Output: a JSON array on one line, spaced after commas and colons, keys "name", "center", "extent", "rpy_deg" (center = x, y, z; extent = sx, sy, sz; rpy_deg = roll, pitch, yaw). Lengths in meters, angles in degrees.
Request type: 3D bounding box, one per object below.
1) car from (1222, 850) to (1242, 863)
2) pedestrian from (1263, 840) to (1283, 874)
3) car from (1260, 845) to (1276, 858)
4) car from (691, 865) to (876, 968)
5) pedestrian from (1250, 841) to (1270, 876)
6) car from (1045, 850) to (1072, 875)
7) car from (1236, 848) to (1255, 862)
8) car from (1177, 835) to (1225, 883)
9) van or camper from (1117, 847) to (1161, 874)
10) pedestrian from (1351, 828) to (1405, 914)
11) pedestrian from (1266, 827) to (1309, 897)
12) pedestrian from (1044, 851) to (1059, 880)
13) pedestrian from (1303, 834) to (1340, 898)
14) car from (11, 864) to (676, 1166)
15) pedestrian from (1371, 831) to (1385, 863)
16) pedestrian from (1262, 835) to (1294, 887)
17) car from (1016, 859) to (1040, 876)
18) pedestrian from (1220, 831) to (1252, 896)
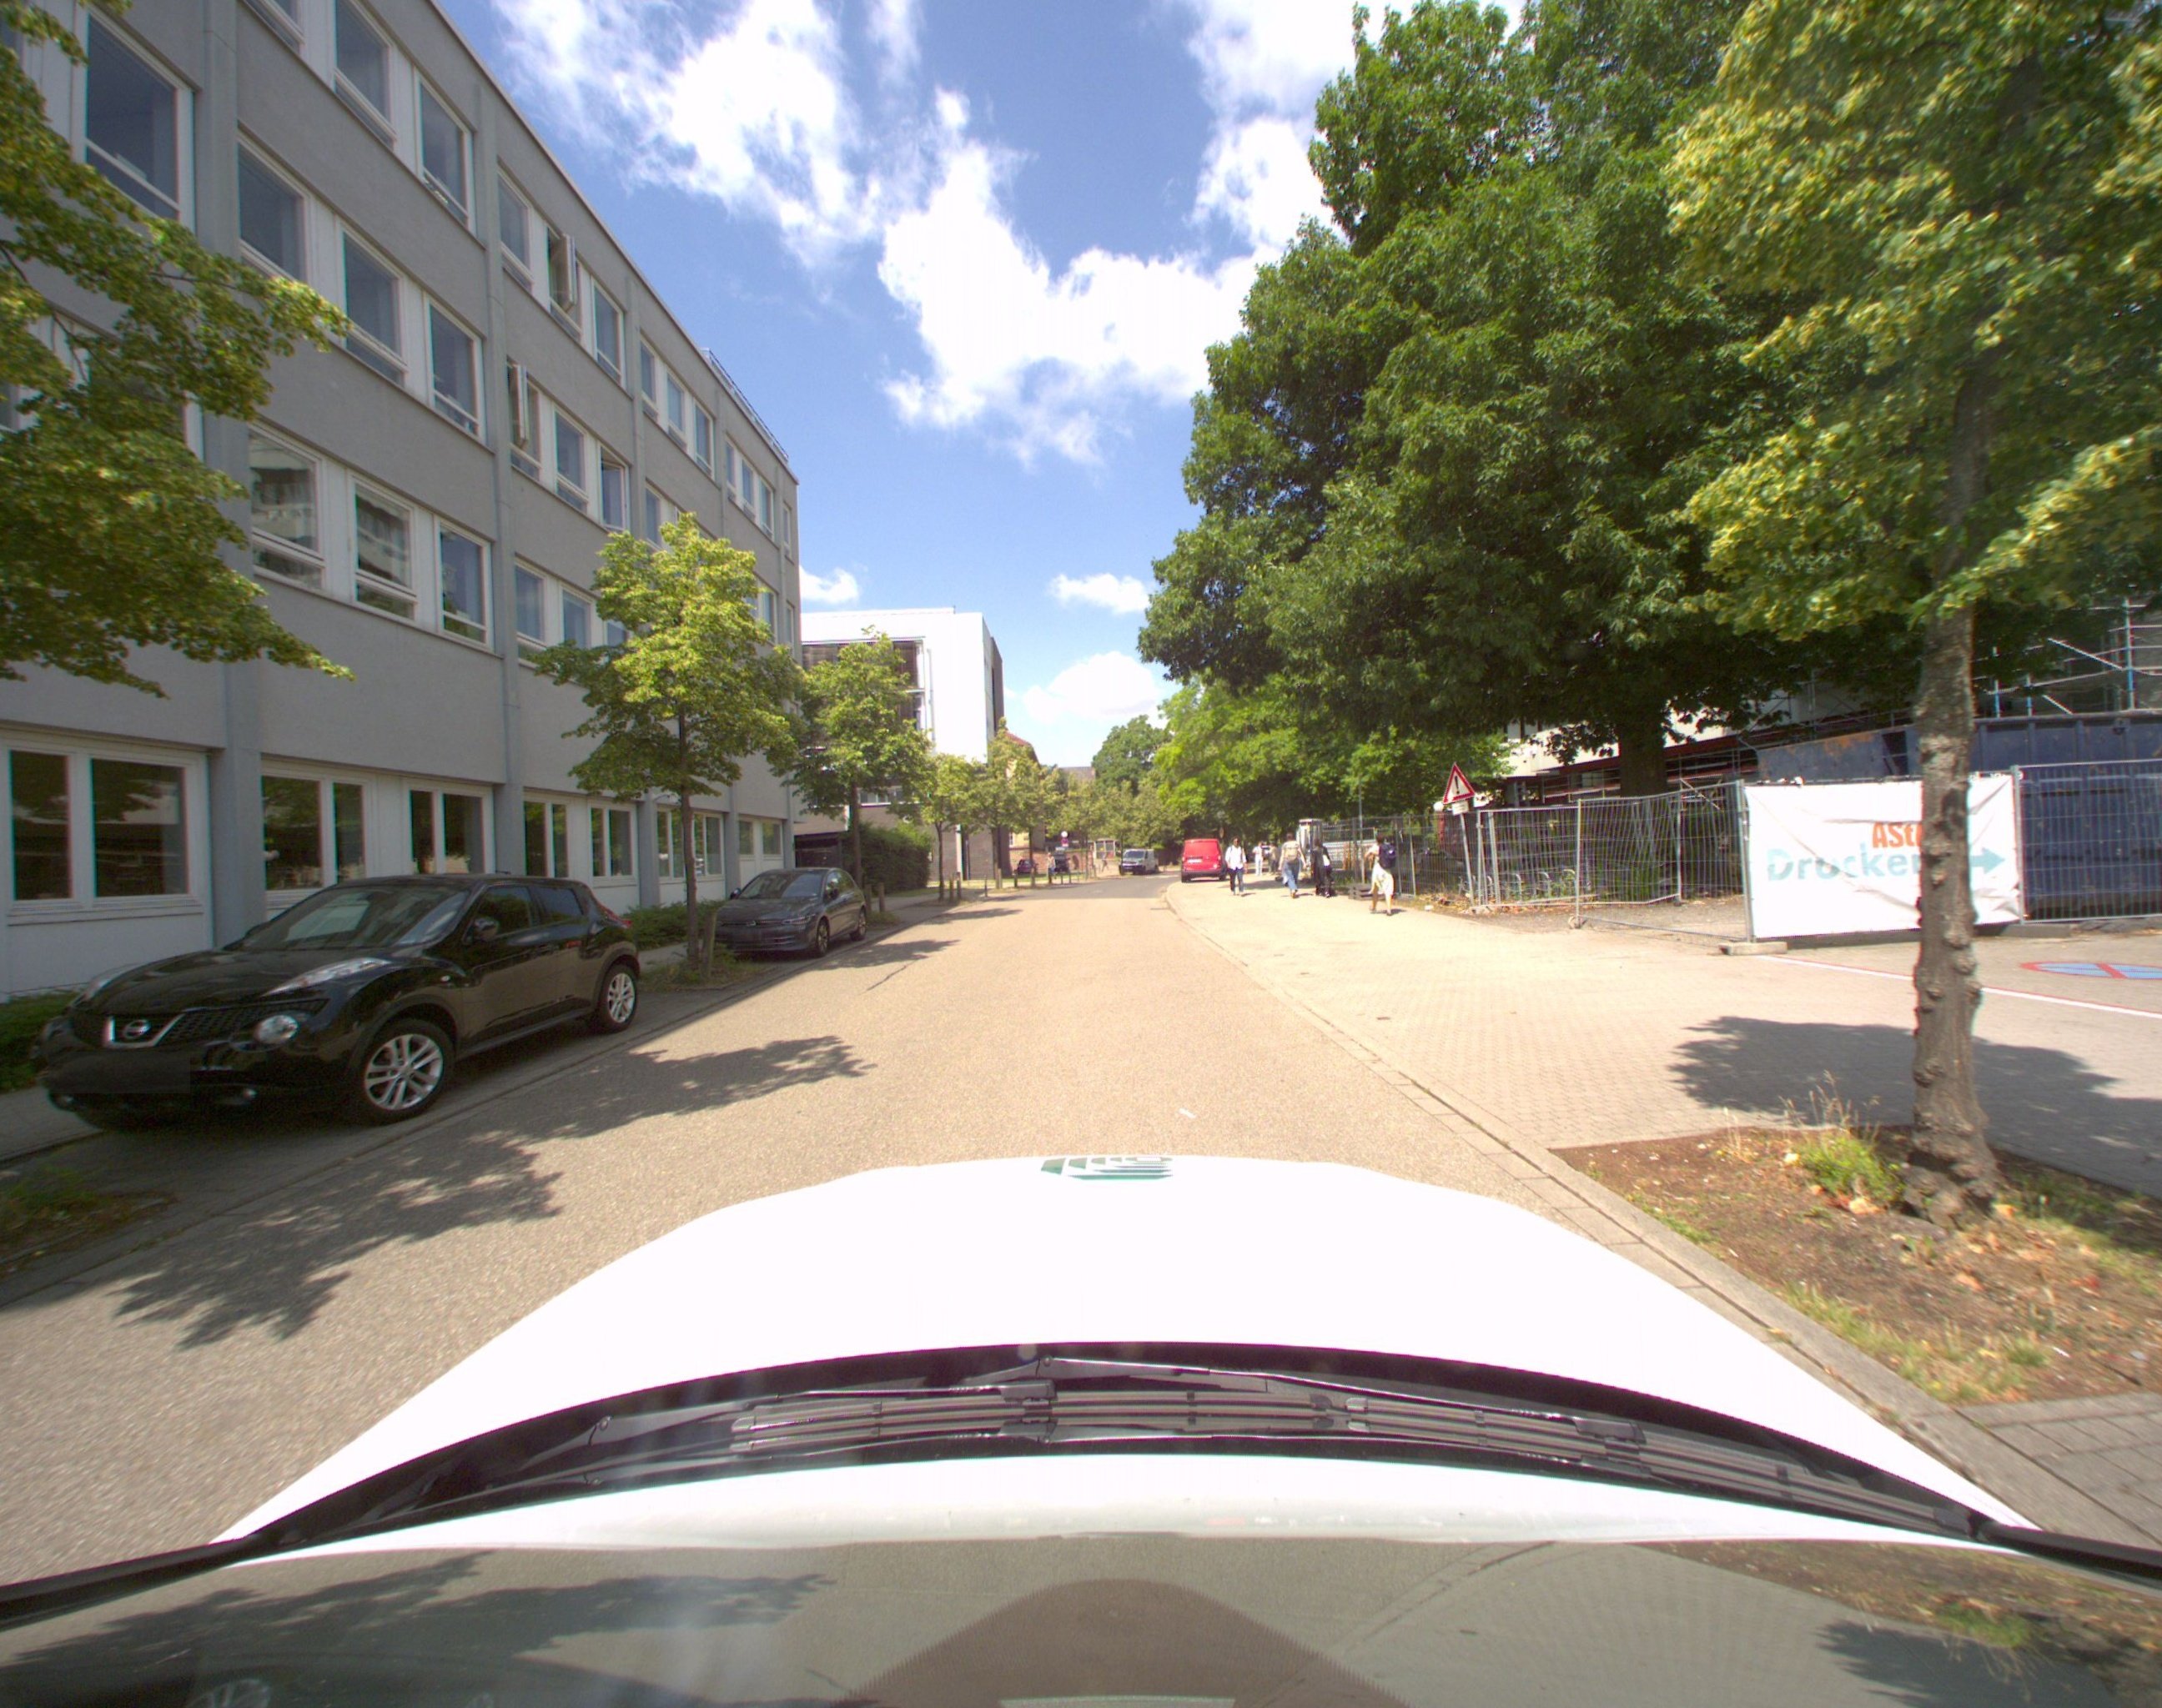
[{"name": "car", "center": [17.503, 0.273, 94.263], "extent": [1.602, 1.387, 4.021], "rpy_deg": [-3, 0, 21]}, {"name": "pedestrian", "center": [9.884, 0.150, 41.910], "extent": [0.749, 1.710, 0.558], "rpy_deg": [-2, -1, -36]}, {"name": "car", "center": [26.801, -0.370, 116.535], "extent": [1.602, 1.816, 4.021], "rpy_deg": [-3, 0, 21]}, {"name": "car", "center": [-5.013, 0.965, 14.388], "extent": [1.773, 1.461, 4.256], "rpy_deg": [-1, 0, -2]}, {"name": "pedestrian", "center": [9.381, 0.239, 42.789], "extent": [0.727, 1.821, 0.623], "rpy_deg": [-2, -1, -36]}, {"name": "car", "center": [-1.979, 0.718, 70.354], "extent": [2.169, 1.926, 5.182], "rpy_deg": [-3, 0, -2]}, {"name": "car", "center": [20.668, 0.081, 102.401], "extent": [1.602, 1.679, 4.021], "rpy_deg": [-3, 0, 21]}, {"name": "car", "center": [5.327, 0.196, 35.602], "extent": [1.837, 1.891, 4.904], "rpy_deg": [-3, 0, 10]}, {"name": "van or camper", "center": [4.493, 0.473, 62.293], "extent": [1.937, 1.923, 5.447], "rpy_deg": [-2, 0, 20]}, {"name": "pedestrian", "center": [5.987, 0.331, 16.464], "extent": [0.648, 1.666, 0.904], "rpy_deg": [-3, 0, -2]}, {"name": "pedestrian", "center": [5.424, 0.216, 21.427], "extent": [0.847, 1.764, 0.716], "rpy_deg": [-3, 0, 1]}, {"name": "pedestrian", "center": [-1.821, 0.713, 50.841], "extent": [0.579, 1.764, 0.916], "rpy_deg": [-3, 0, 19]}, {"name": "pedestrian", "center": [6.248, 0.311, 21.175], "extent": [0.665, 1.600, 0.986], "rpy_deg": [-3, 0, 4]}, {"name": "car", "center": [-5.140, 0.920, 6.604], "extent": [1.692, 1.564, 4.065], "rpy_deg": [-3, 0, -2]}, {"name": "pedestrian", "center": [17.580, -0.418, 48.219], "extent": [0.540, 1.837, 0.763], "rpy_deg": [-3, -1, 6]}, {"name": "pedestrian", "center": [6.448, 0.233, 26.674], "extent": [0.713, 1.631, 0.708], "rpy_deg": [-2, -1, -13]}, {"name": "car", "center": [-4.542, 1.122, 70.414], "extent": [1.812, 1.324, 3.766], "rpy_deg": [-3, 0, -1]}, {"name": "pedestrian", "center": [4.382, 0.268, 23.060], "extent": [0.692, 1.781, 0.787], "rpy_deg": [-3, 0, 1]}]
